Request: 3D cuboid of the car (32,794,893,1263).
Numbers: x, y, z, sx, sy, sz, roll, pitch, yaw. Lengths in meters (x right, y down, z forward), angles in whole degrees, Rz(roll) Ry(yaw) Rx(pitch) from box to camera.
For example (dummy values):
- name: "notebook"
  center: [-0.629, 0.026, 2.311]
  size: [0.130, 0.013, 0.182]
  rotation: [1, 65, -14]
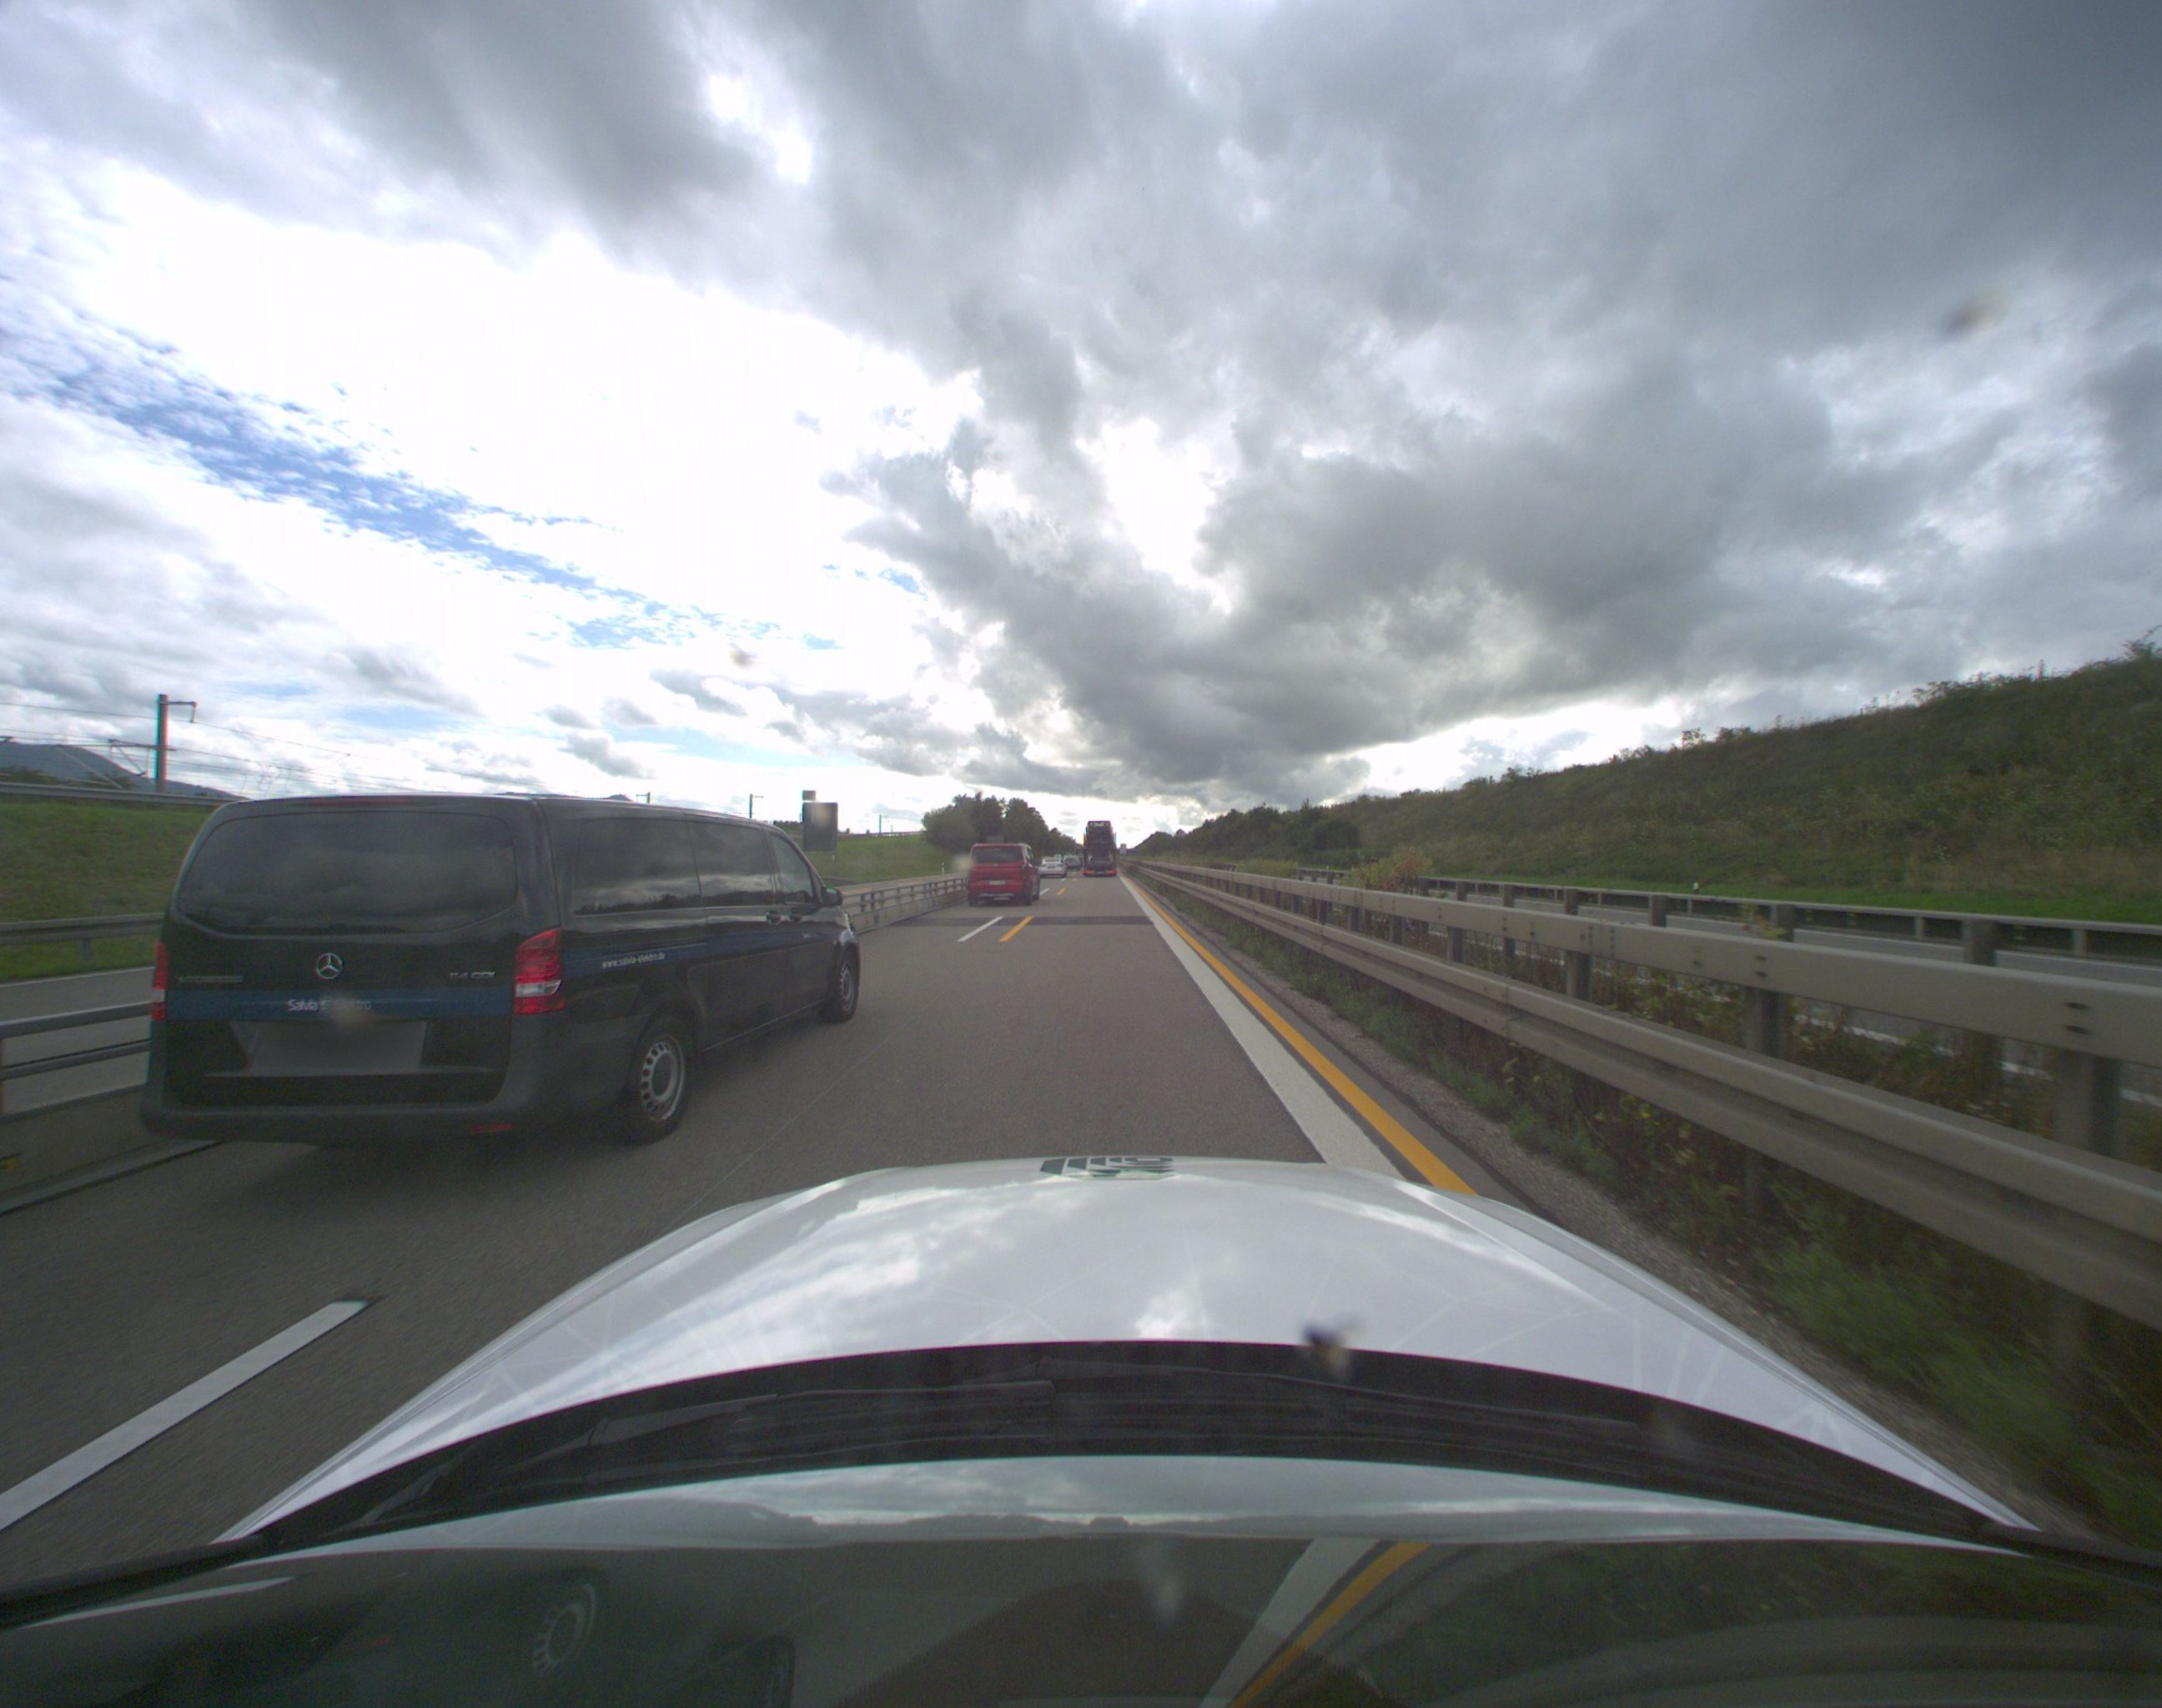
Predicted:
- name: "car"
  center: [-3.154, 0.711, 6.086]
  size: [1.986, 1.843, 5.611]
  rotation: [-1, 0, 2]

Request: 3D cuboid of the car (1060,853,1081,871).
- name: "car"
  center: [-1.088, 0.793, 84.153]
  size: [2.024, 1.757, 4.578]
  rotation: [-1, 0, 1]

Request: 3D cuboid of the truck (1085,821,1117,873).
- name: "truck"
  center: [1.685, -0.523, 67.134]
  size: [2.505, 4.105, 5.688]
  rotation: [-1, 0, 2]

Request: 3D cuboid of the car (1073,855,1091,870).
- name: "car"
  center: [0.116, 0.999, 98.431]
  size: [2.024, 1.757, 4.578]
  rotation: [-1, 0, 1]

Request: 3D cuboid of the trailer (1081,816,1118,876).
- name: "trailer"
  center: [1.507, -0.545, 62.299]
  size: [2.505, 4.105, 11.119]
  rotation: [-1, 0, 2]

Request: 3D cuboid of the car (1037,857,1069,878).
- name: "car"
  center: [-1.956, 0.945, 58.793]
  size: [2.024, 1.430, 4.578]
  rotation: [-1, 0, 1]

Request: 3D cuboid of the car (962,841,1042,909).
- name: "car"
  center: [-2.503, 0.637, 26.985]
  size: [2.023, 2.013, 4.579]
  rotation: [-1, 0, 2]
